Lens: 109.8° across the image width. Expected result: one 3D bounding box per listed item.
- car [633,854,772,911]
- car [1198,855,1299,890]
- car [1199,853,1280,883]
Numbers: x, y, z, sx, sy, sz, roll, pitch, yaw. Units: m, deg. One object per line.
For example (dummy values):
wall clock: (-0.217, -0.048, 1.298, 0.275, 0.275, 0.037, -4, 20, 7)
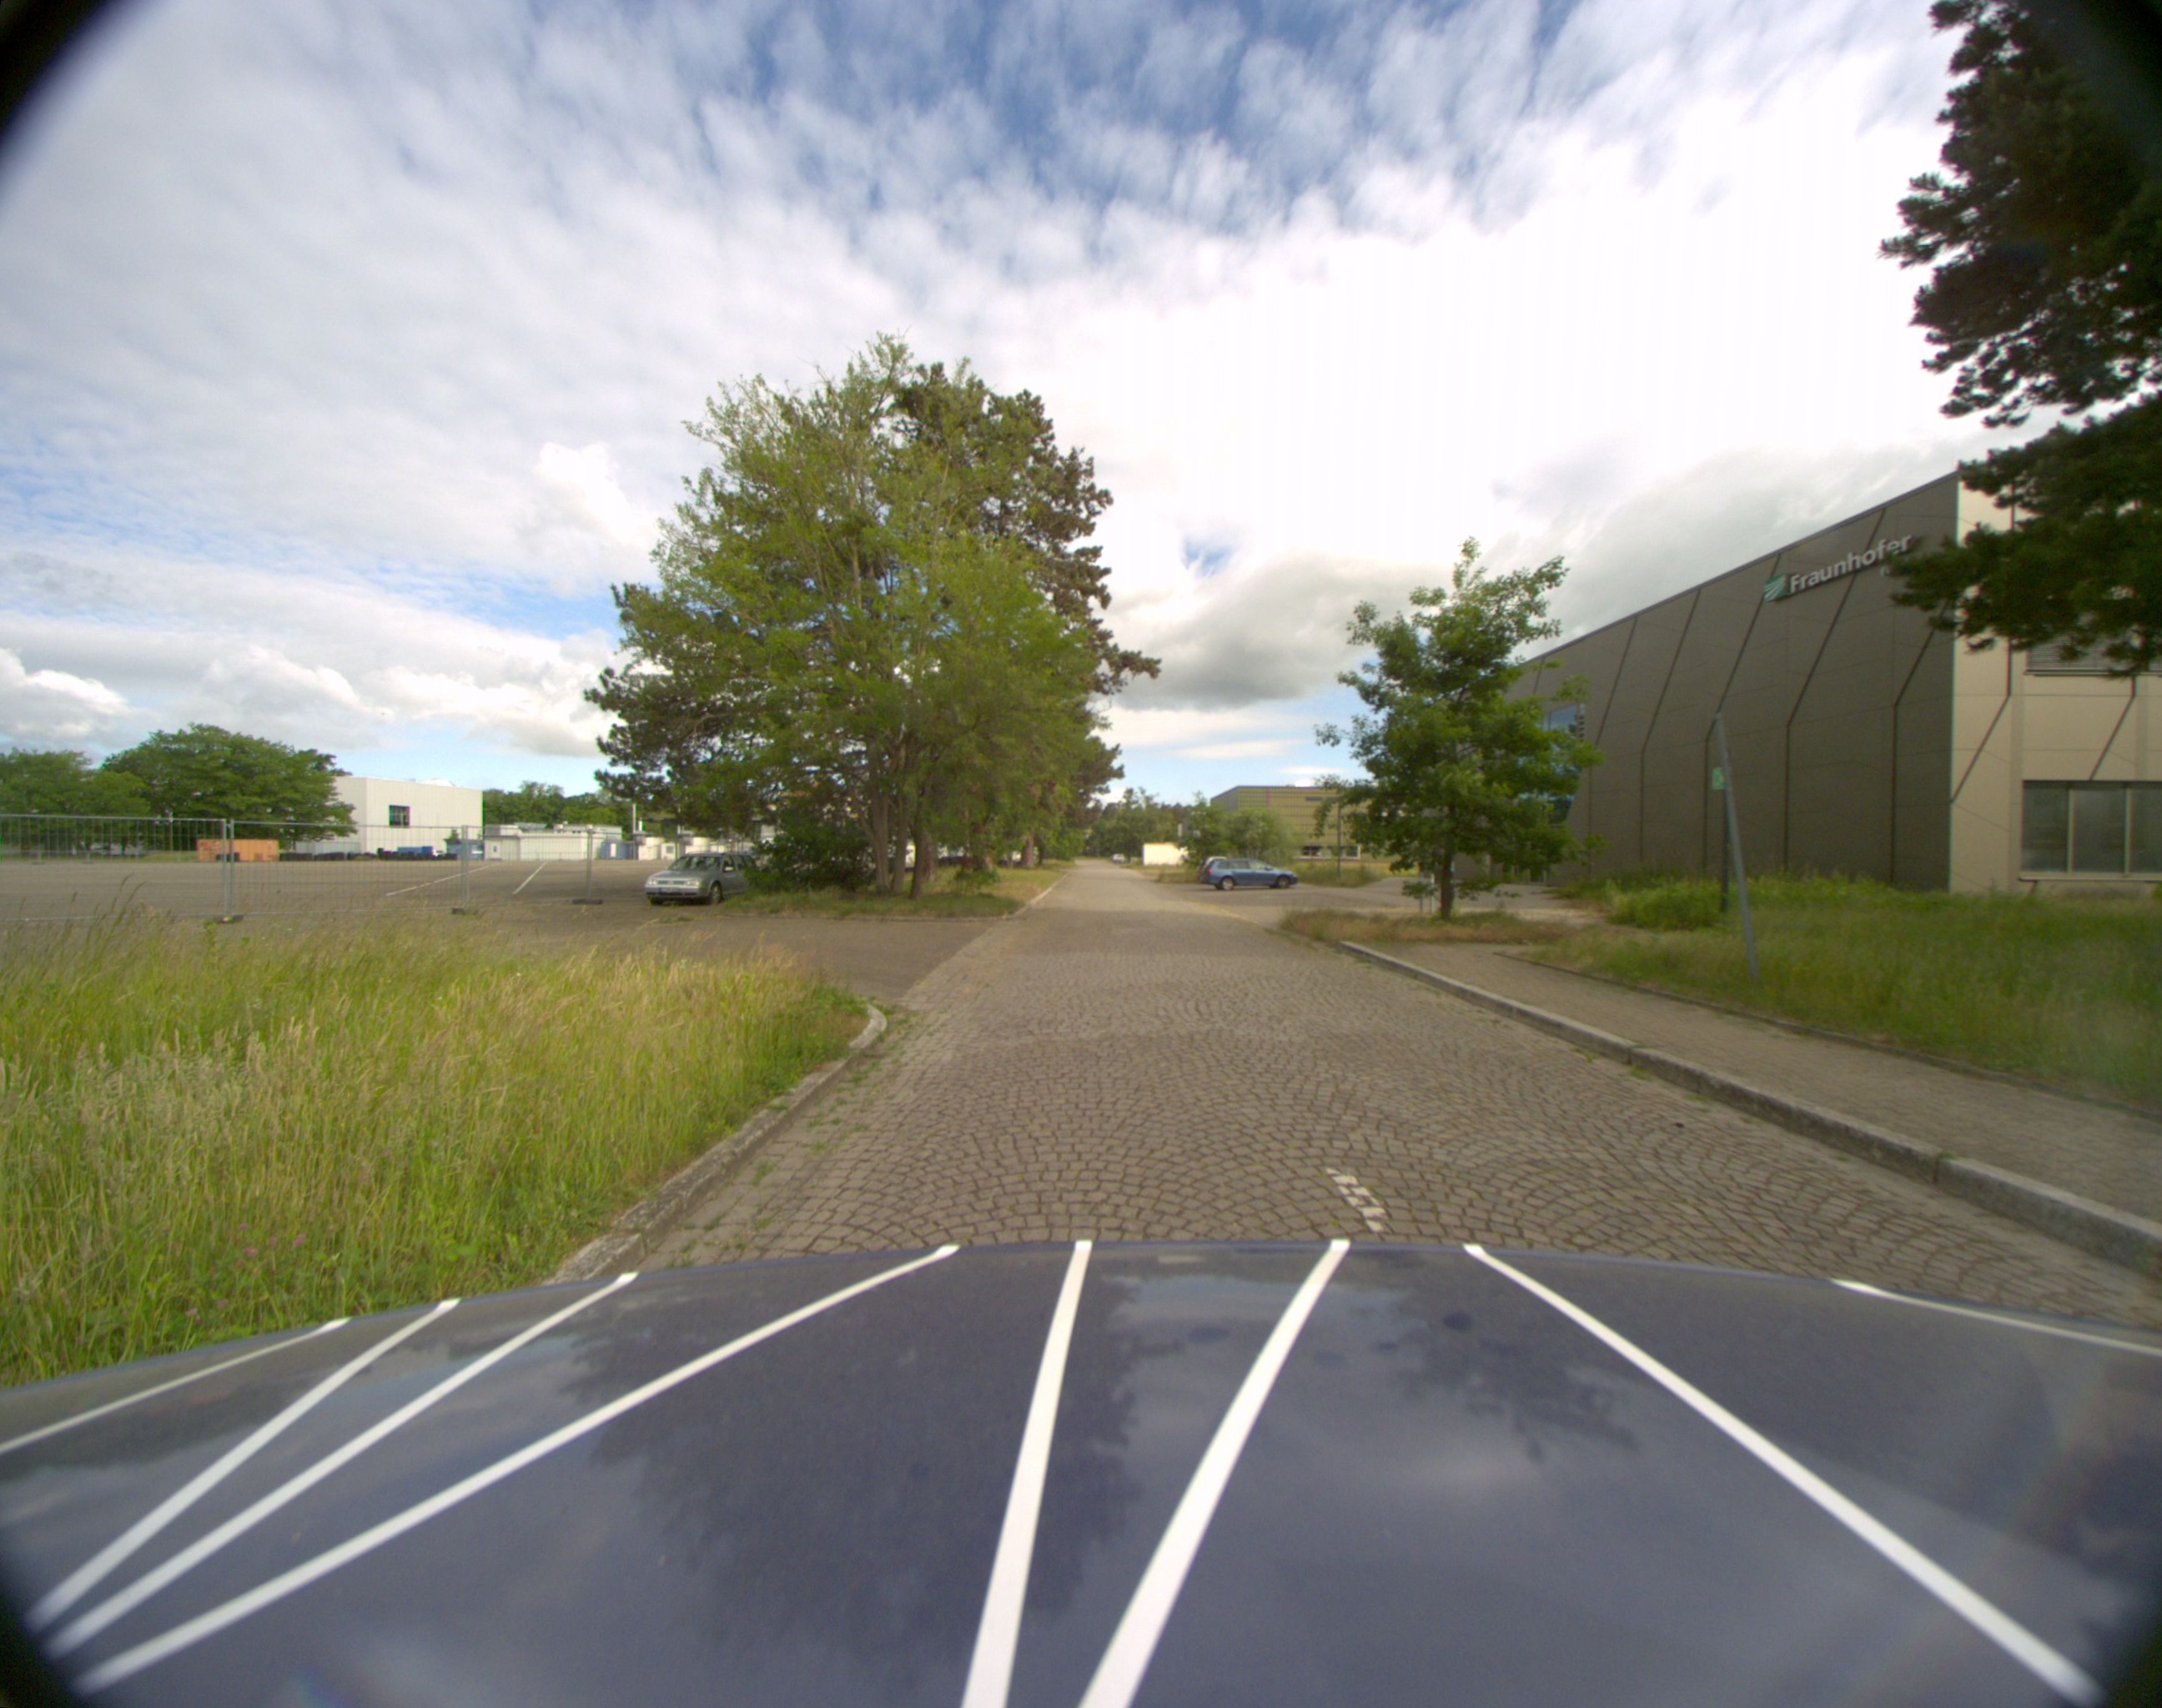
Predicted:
car: (-10.724, 0.741, 21.912, 1.759, 1.440, 4.327, 1, 0, 2)
car: (7.941, 0.857, 36.215, 4.404, 1.501, 1.716, -2, 1, -2)
car: (9.022, 0.795, 43.507, 4.400, 1.537, 1.842, -2, 0, 7)
